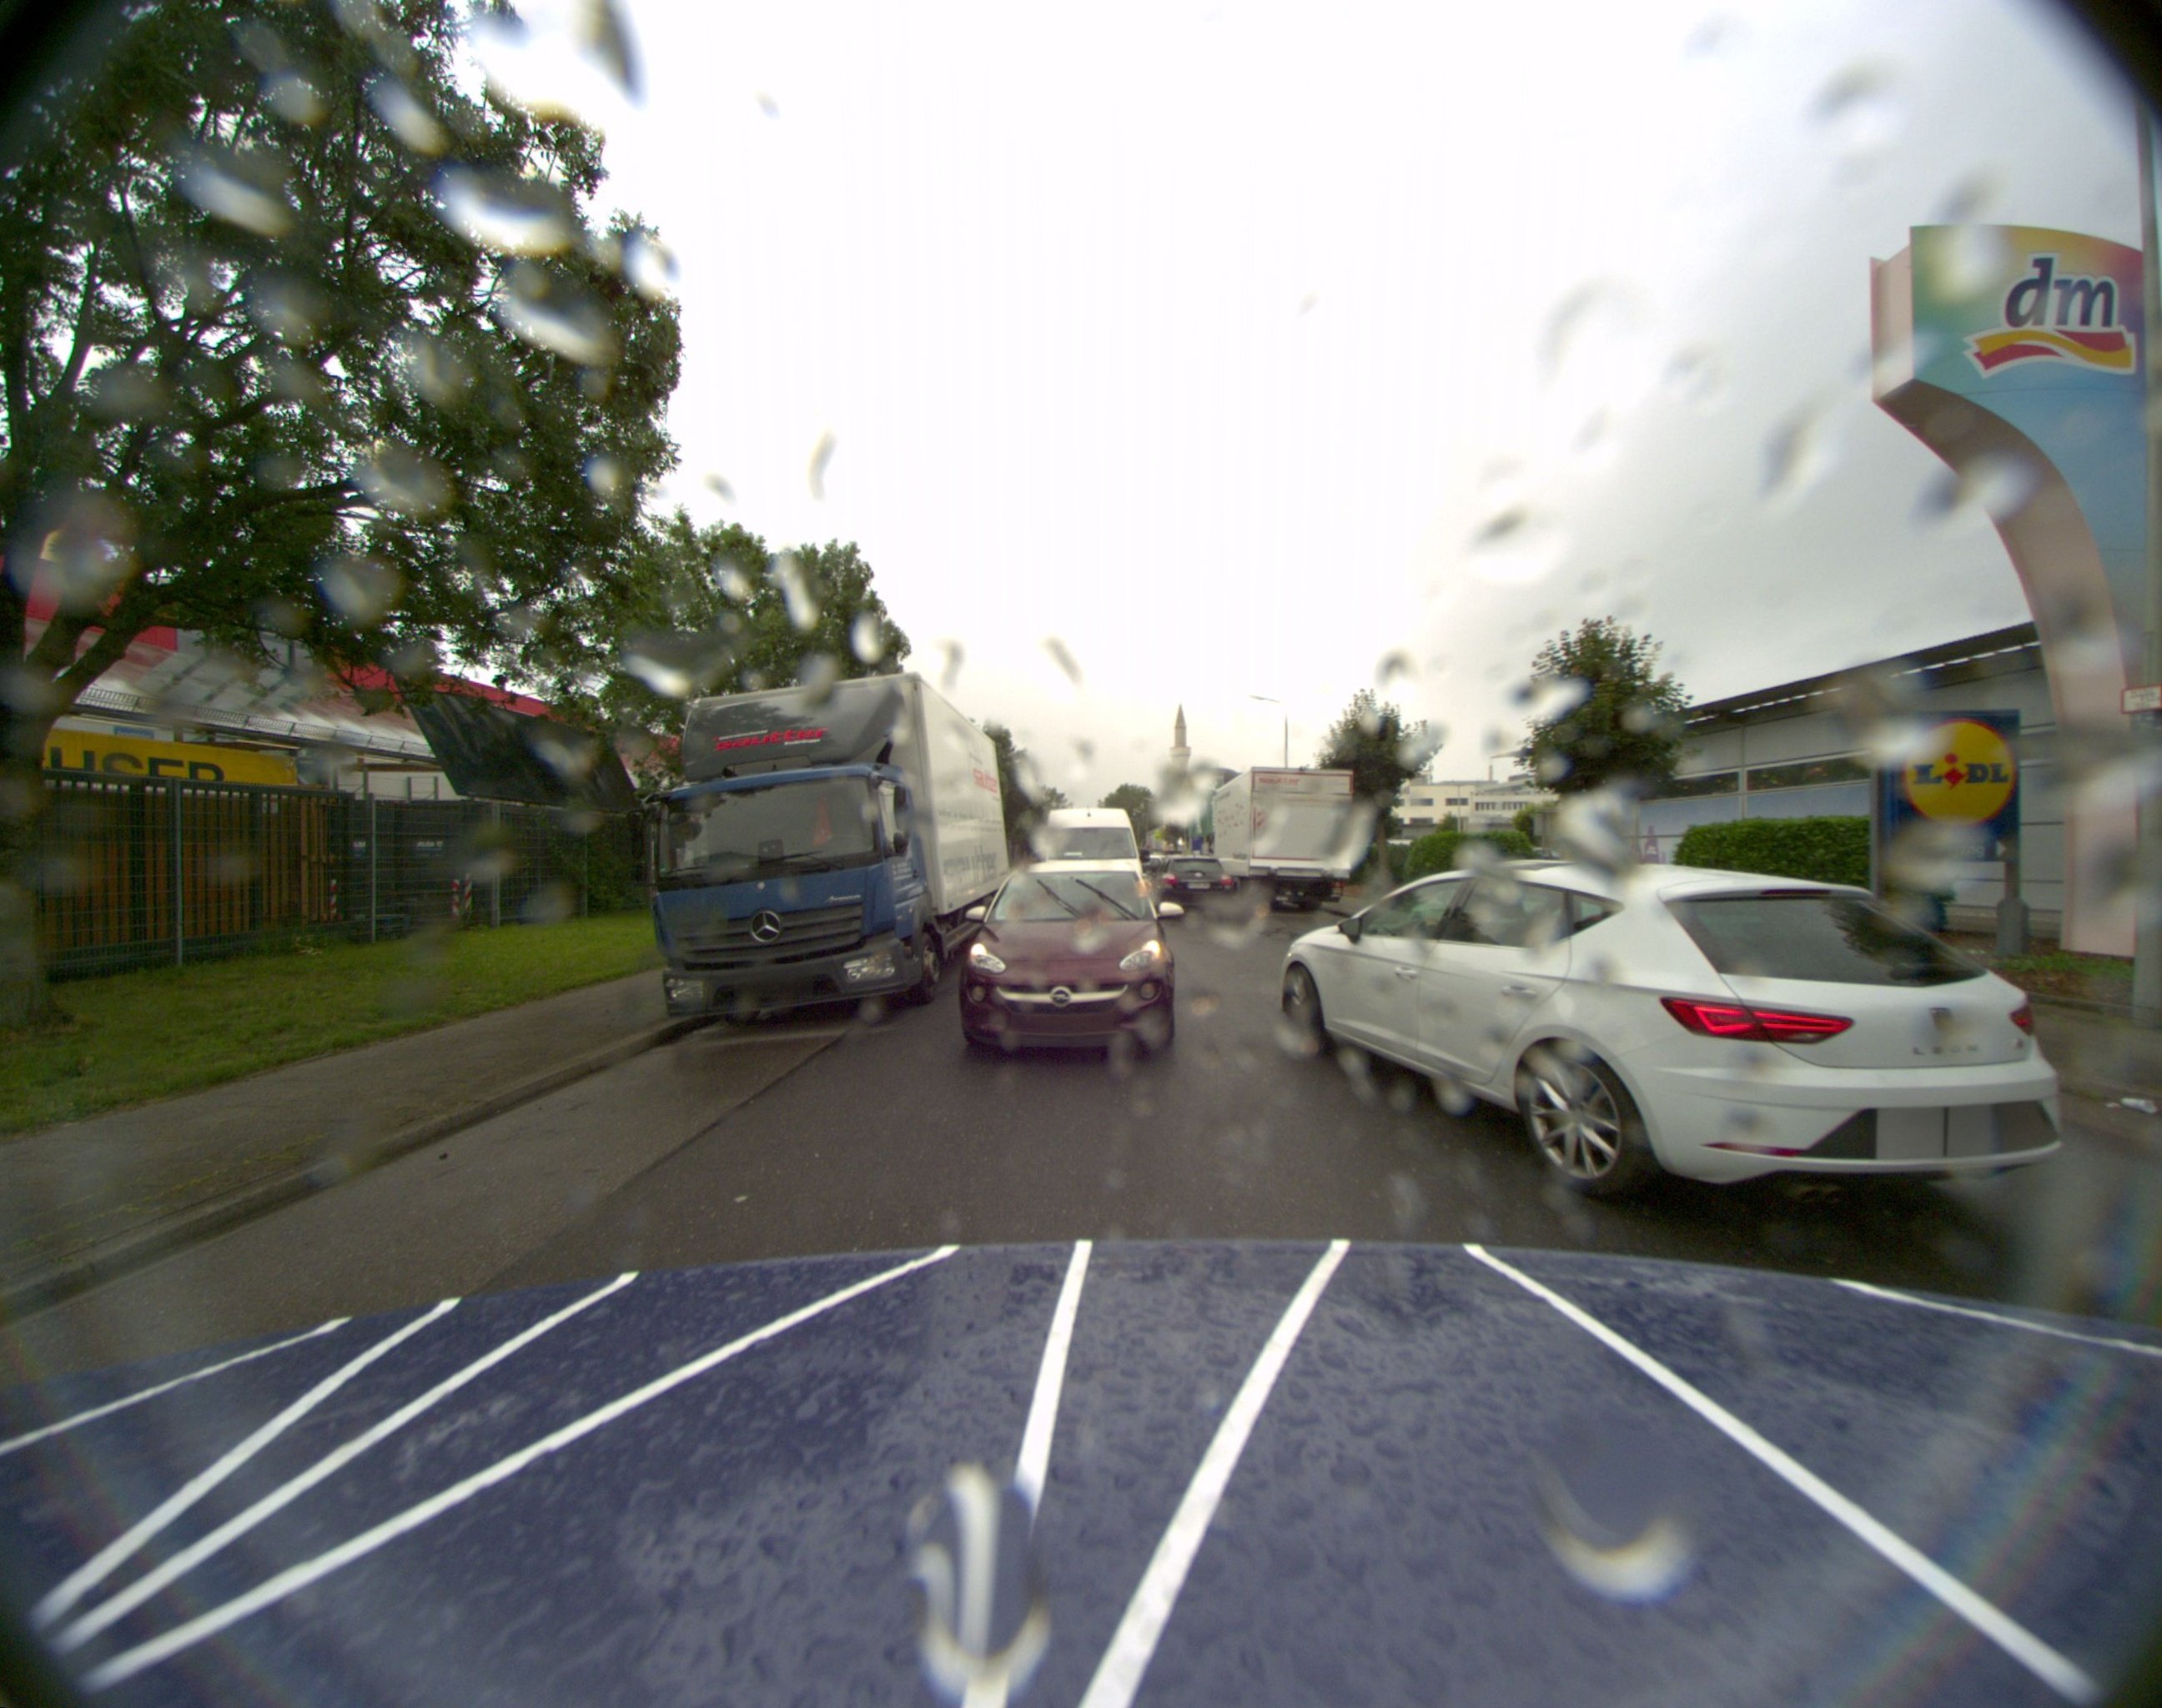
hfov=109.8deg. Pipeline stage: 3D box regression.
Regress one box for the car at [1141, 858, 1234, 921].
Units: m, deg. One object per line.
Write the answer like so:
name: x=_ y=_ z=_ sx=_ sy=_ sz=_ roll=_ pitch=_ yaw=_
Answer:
car: x=2.620 y=0.830 z=19.536 sx=1.735 sy=1.432 sz=3.999 roll=0 pitch=0 yaw=-1

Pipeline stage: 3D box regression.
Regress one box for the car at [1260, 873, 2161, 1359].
car: x=2.720 y=0.876 z=4.515 sx=1.737 sy=1.432 sz=3.996 roll=0 pitch=0 yaw=-11

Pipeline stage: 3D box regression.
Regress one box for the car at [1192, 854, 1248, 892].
car: x=5.739 y=0.742 z=31.688 sx=1.691 sy=1.457 sz=3.513 roll=-1 pitch=0 yaw=0

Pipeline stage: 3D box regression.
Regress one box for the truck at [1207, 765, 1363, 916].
truck: x=5.732 y=-0.351 z=22.887 sx=2.888 sy=3.724 sz=7.868 roll=-1 pitch=0 yaw=2

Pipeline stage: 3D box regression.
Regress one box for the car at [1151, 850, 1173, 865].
car: x=7.338 y=0.327 z=69.116 sx=1.579 sy=1.333 sz=3.610 roll=-1 pitch=0 yaw=0

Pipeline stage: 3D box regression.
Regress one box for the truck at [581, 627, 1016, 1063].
truck: x=-2.824 y=-0.082 z=10.663 sx=2.678 sy=3.670 sz=8.009 roll=-3 pitch=0 yaw=2

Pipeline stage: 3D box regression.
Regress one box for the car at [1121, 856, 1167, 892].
car: x=2.693 y=0.816 z=33.059 sx=1.615 sy=1.430 sz=3.407 roll=1 pitch=0 yaw=-1

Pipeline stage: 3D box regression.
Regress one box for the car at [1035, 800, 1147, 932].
car: x=0.161 y=0.214 z=17.094 sx=2.085 sy=2.466 sz=5.346 roll=-1 pitch=0 yaw=-1

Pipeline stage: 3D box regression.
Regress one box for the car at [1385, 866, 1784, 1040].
car: x=5.359 y=0.912 z=9.000 sx=1.840 sy=1.426 sz=4.492 roll=1 pitch=0 yaw=2

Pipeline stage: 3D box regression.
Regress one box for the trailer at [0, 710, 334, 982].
trailer: x=-18.267 y=-0.123 z=12.168 sx=2.974 sy=4.219 sz=9.469 roll=0 pitch=1 yaw=1

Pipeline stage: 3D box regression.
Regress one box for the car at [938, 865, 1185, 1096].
car: x=-0.107 y=0.891 z=6.978 sx=1.637 sy=1.446 sz=3.578 roll=-2 pitch=1 yaw=1
